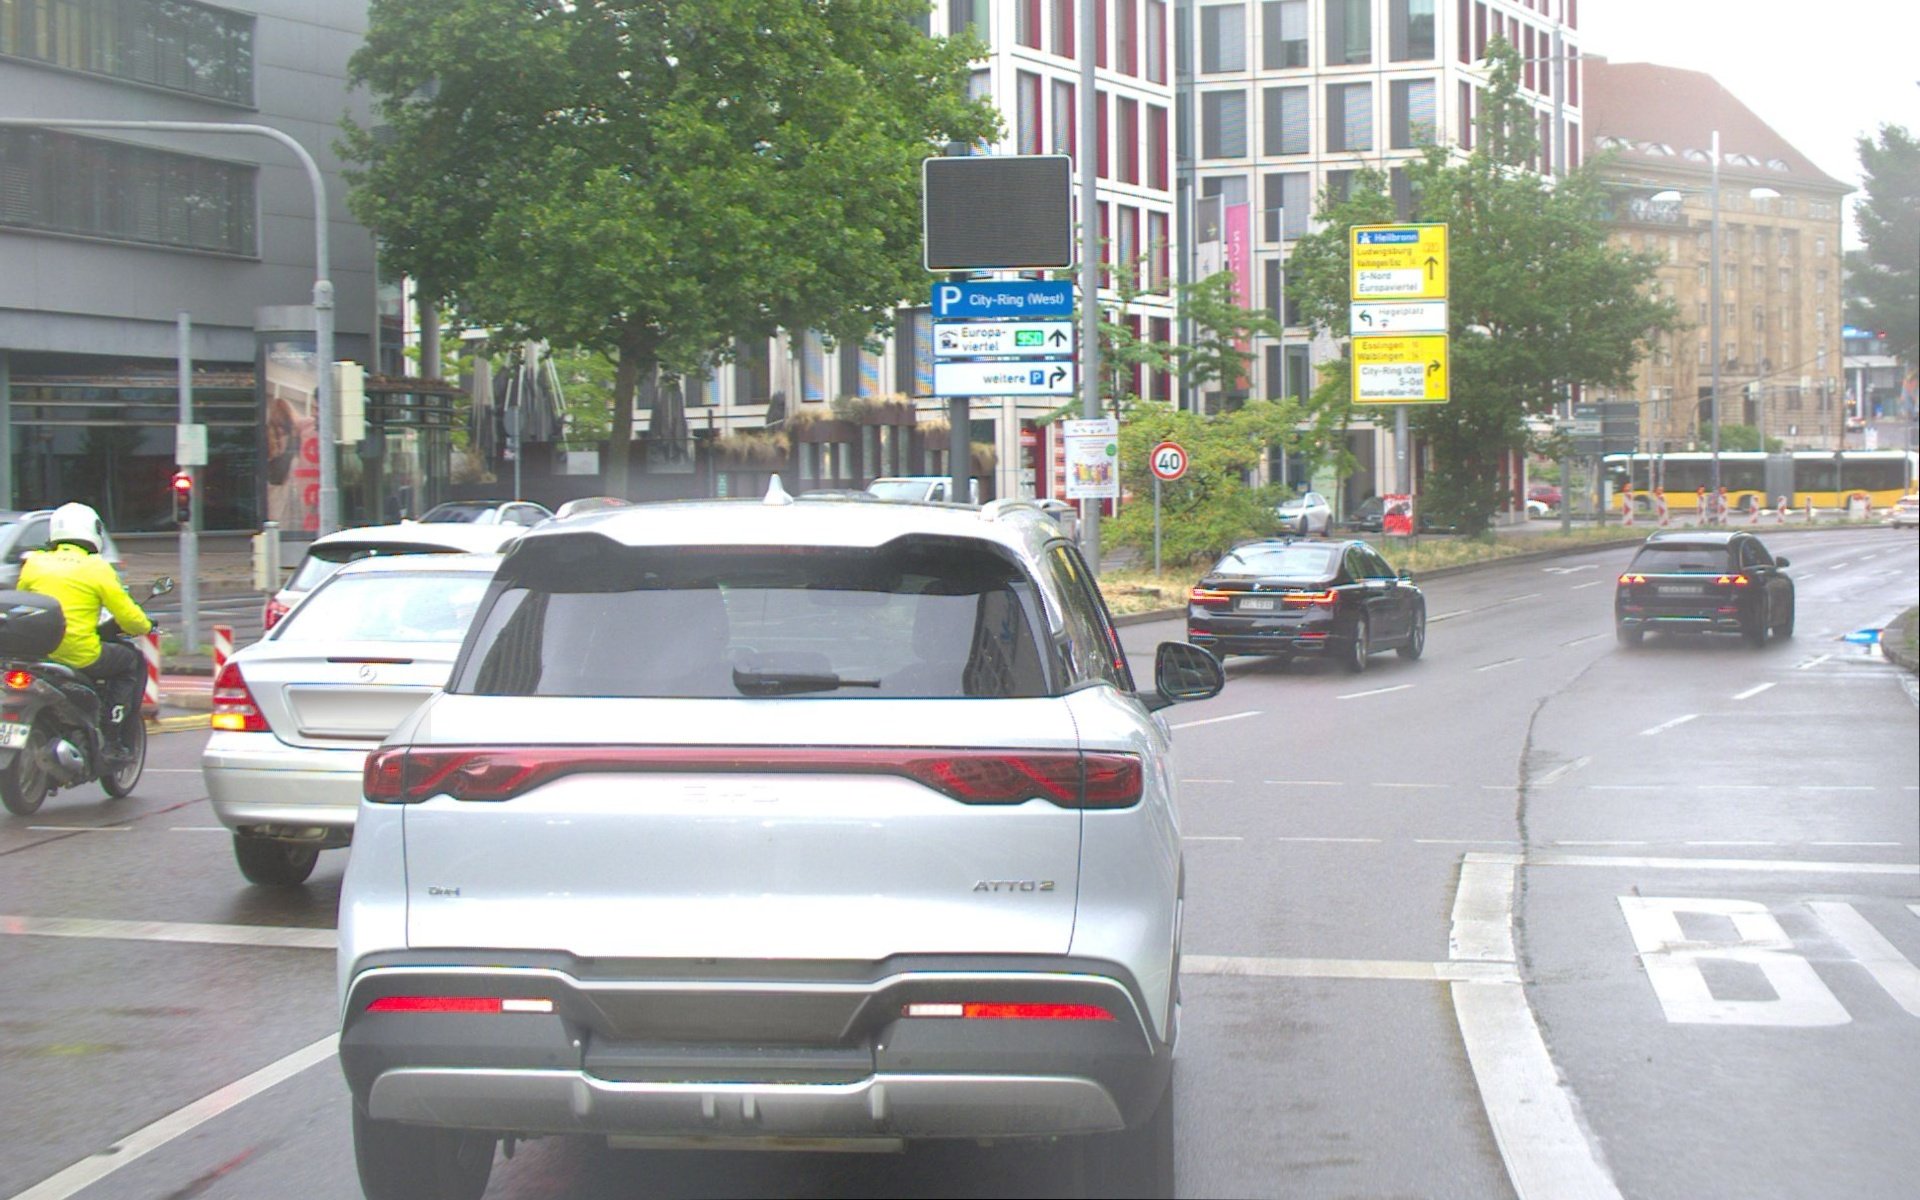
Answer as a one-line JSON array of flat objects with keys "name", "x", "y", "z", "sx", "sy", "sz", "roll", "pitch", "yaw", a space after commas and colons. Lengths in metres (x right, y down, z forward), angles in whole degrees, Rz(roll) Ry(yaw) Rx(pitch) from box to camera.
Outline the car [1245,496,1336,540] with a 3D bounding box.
[{"name": "car", "x": 11.279, "y": -2.804, "z": 117.109, "sx": 1.996, "sy": 1.483, "sz": 3.996, "roll": 1, "pitch": 2, "yaw": 23}]

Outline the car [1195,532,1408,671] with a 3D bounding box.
[{"name": "car", "x": 3.956, "y": 0.008, "z": 39.305, "sx": 1.572, "sy": 1.481, "sz": 3.996, "roll": 1, "pitch": 0, "yaw": 18}]

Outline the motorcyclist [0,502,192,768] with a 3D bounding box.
[{"name": "motorcyclist", "x": -4.718, "y": 0.178, "z": 18.464, "sx": 0.770, "sy": 1.375, "sz": 1.118, "roll": 1, "pitch": 0, "yaw": 9}]

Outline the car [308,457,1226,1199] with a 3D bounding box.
[{"name": "car", "x": -0.304, "y": 0.561, "z": 8.713, "sx": 1.776, "sy": 1.673, "sz": 4.000, "roll": 1, "pitch": 0, "yaw": 2}]

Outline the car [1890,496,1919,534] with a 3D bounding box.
[{"name": "car", "x": 41.436, "y": -3.667, "z": 149.120, "sx": 1.889, "sy": 1.637, "sz": 3.997, "roll": 1, "pitch": 1, "yaw": 18}]

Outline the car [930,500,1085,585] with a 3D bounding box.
[{"name": "car", "x": 0.878, "y": -1.038, "z": 60.784, "sx": 1.633, "sy": 1.432, "sz": 3.904, "roll": 0, "pitch": 2, "yaw": 19}]

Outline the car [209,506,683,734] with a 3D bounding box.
[{"name": "car", "x": -3.574, "y": 0.124, "z": 24.647, "sx": 1.708, "sy": 1.481, "sz": 3.996, "roll": 1, "pitch": 0, "yaw": 19}]

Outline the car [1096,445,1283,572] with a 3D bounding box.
[{"name": "car", "x": 3.940, "y": -1.514, "z": 58.247, "sx": 1.995, "sy": 2.007, "sz": 4.844, "roll": 1, "pitch": 0, "yaw": 18}]

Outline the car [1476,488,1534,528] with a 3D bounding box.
[{"name": "car", "x": 25.215, "y": -4.264, "z": 158.979, "sx": 1.608, "sy": 1.735, "sz": 3.440, "roll": 1, "pitch": 0, "yaw": 27}]

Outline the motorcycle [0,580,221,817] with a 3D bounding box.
[{"name": "motorcycle", "x": -4.720, "y": 0.493, "z": 18.366, "sx": 0.800, "sy": 1.180, "sz": 2.027, "roll": 1, "pitch": 0, "yaw": 9}]

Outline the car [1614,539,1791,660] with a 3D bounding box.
[{"name": "car", "x": 9.758, "y": -0.012, "z": 44.993, "sx": 1.695, "sy": 1.481, "sz": 3.996, "roll": 1, "pitch": 0, "yaw": 20}]

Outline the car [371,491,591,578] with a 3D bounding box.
[{"name": "car", "x": -8.583, "y": -1.215, "z": 62.082, "sx": 1.815, "sy": 1.505, "sz": 5.191, "roll": 0, "pitch": 2, "yaw": 18}]

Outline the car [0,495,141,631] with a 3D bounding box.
[{"name": "car", "x": -11.608, "y": -0.460, "z": 41.230, "sx": 1.645, "sy": 1.575, "sz": 4.082, "roll": 1, "pitch": 1, "yaw": 17}]

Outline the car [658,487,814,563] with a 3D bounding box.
[{"name": "car", "x": -4.652, "y": -1.595, "z": 72.133, "sx": 1.633, "sy": 1.553, "sz": 4.589, "roll": 0, "pitch": 2, "yaw": 19}]

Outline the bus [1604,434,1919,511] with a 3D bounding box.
[{"name": "bus", "x": 44.581, "y": -7.067, "z": 190.488, "sx": 16.981, "sy": 4.049, "sz": 4.433, "roll": 1, "pitch": 0, "yaw": 20}]

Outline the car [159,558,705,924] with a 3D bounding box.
[{"name": "car", "x": -2.223, "y": 0.541, "z": 15.514, "sx": 1.571, "sy": 1.402, "sz": 4.109, "roll": 1, "pitch": 0, "yaw": 4}]

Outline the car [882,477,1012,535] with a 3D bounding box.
[{"name": "car", "x": -0.311, "y": -2.459, "z": 89.779, "sx": 1.996, "sy": 1.483, "sz": 3.996, "roll": 1, "pitch": 2, "yaw": 23}]
